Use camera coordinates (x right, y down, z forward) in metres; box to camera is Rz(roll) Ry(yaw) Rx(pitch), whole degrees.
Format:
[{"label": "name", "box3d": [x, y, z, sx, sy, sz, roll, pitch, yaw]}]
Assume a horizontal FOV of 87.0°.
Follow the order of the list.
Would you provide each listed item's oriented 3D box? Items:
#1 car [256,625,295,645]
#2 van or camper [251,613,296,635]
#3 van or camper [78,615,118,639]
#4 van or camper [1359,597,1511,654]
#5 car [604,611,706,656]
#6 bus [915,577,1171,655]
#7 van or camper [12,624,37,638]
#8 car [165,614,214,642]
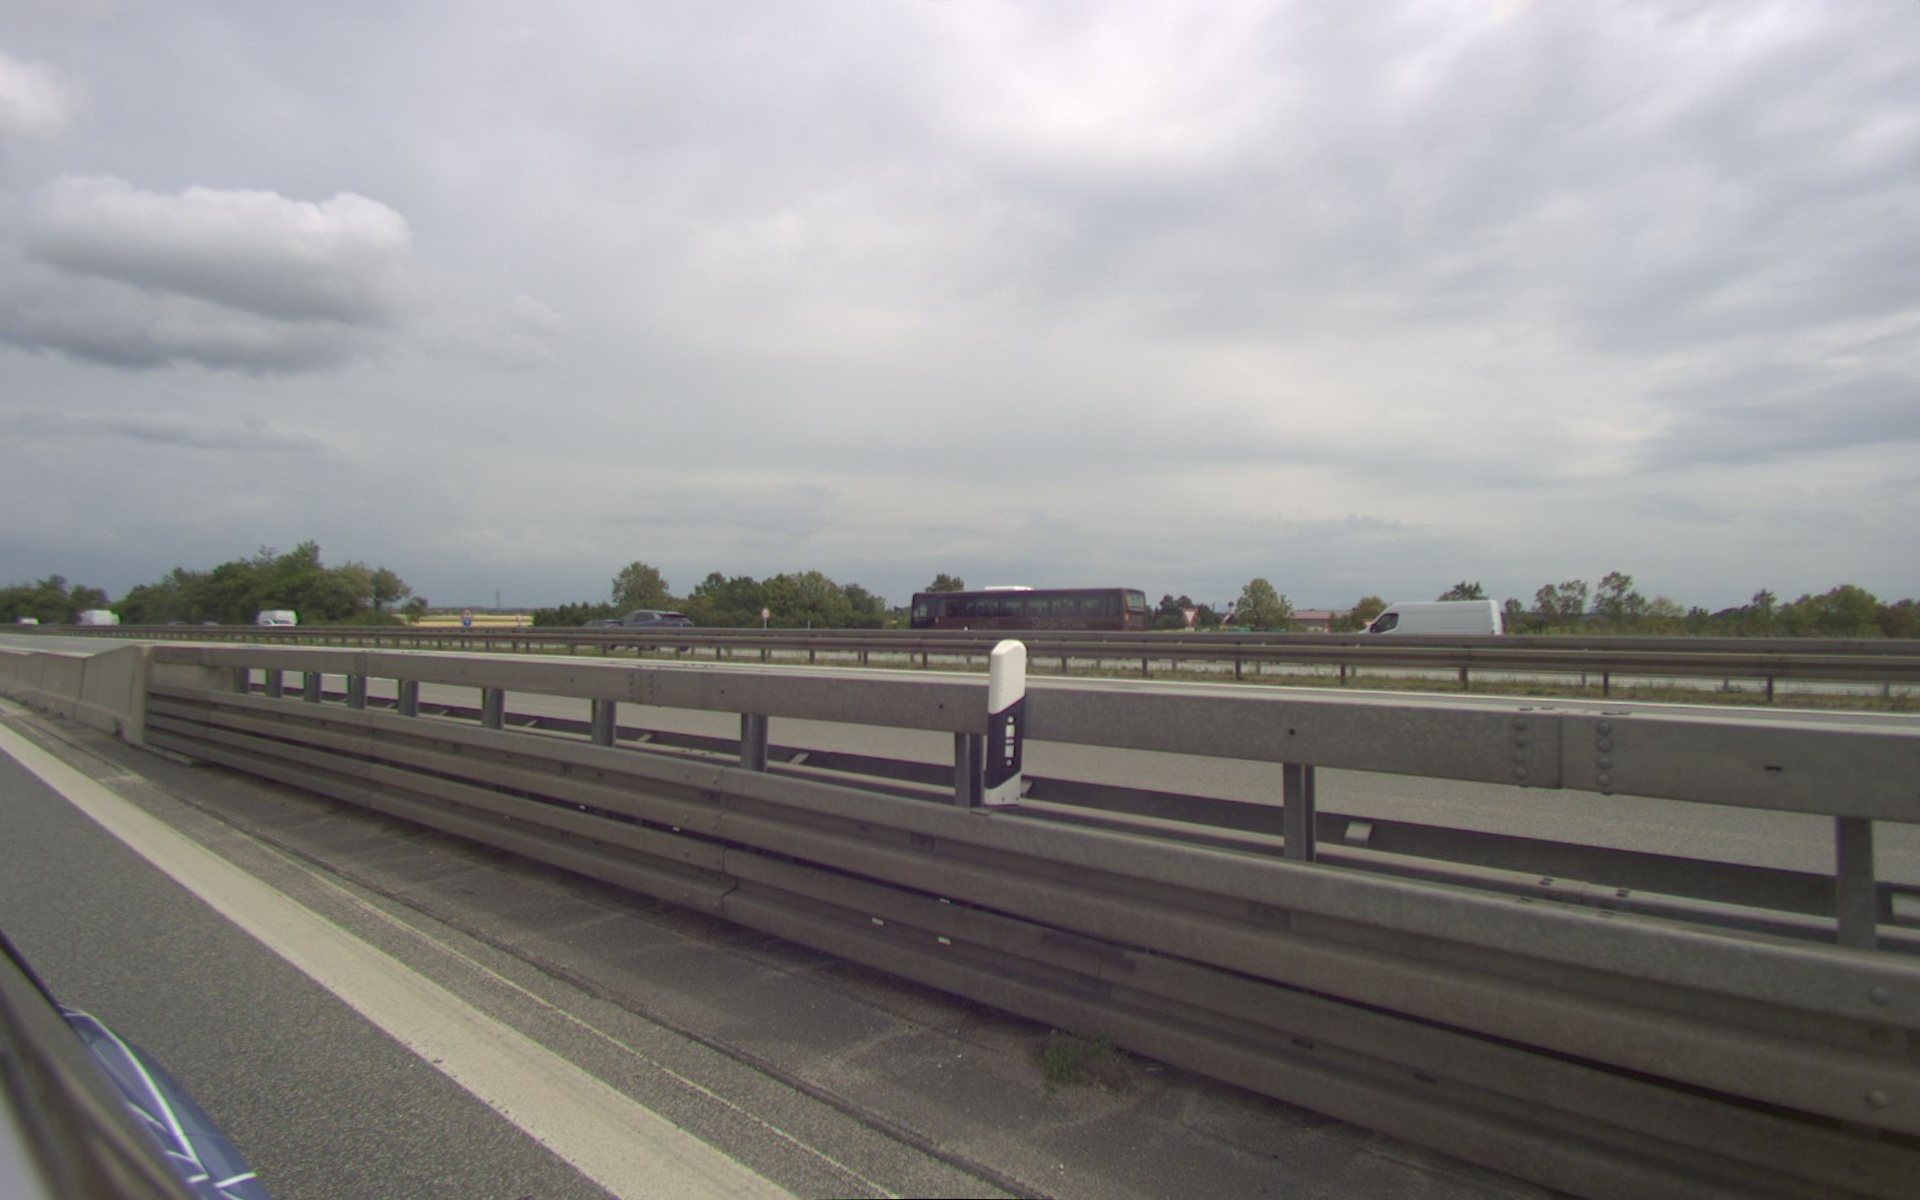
[{"label": "car", "box3d": [-52.947, 2.700, 78.204, 3.997, 1.475, 1.507, -1, -1, 41]}, {"label": "van or camper", "box3d": [-71.195, 2.452, 104.908, 5.801, 2.188, 2.166, -1, -1, 38]}, {"label": "van or camper", "box3d": [-99.529, 3.125, 116.836, 6.895, 2.639, 2.166, -1, -1, 38]}, {"label": "van or camper", "box3d": [17.947, 0.952, 38.335, 4.877, 2.029, 1.975, -1, 0, 38]}, {"label": "car", "box3d": [-12.195, 1.326, 40.376, 3.994, 1.674, 1.975, -1, -1, 38]}, {"label": "bus", "box3d": [3.787, 0.822, 50.222, 12.971, 3.468, 3.184, -1, 0, 38]}, {"label": "van or camper", "box3d": [-130.199, 4.340, 140.824, 4.343, 1.842, 1.974, -1, -1, 40]}, {"label": "car", "box3d": [-59.156, 2.153, 77.683, 3.993, 2.029, 1.975, -1, -1, 37]}]
